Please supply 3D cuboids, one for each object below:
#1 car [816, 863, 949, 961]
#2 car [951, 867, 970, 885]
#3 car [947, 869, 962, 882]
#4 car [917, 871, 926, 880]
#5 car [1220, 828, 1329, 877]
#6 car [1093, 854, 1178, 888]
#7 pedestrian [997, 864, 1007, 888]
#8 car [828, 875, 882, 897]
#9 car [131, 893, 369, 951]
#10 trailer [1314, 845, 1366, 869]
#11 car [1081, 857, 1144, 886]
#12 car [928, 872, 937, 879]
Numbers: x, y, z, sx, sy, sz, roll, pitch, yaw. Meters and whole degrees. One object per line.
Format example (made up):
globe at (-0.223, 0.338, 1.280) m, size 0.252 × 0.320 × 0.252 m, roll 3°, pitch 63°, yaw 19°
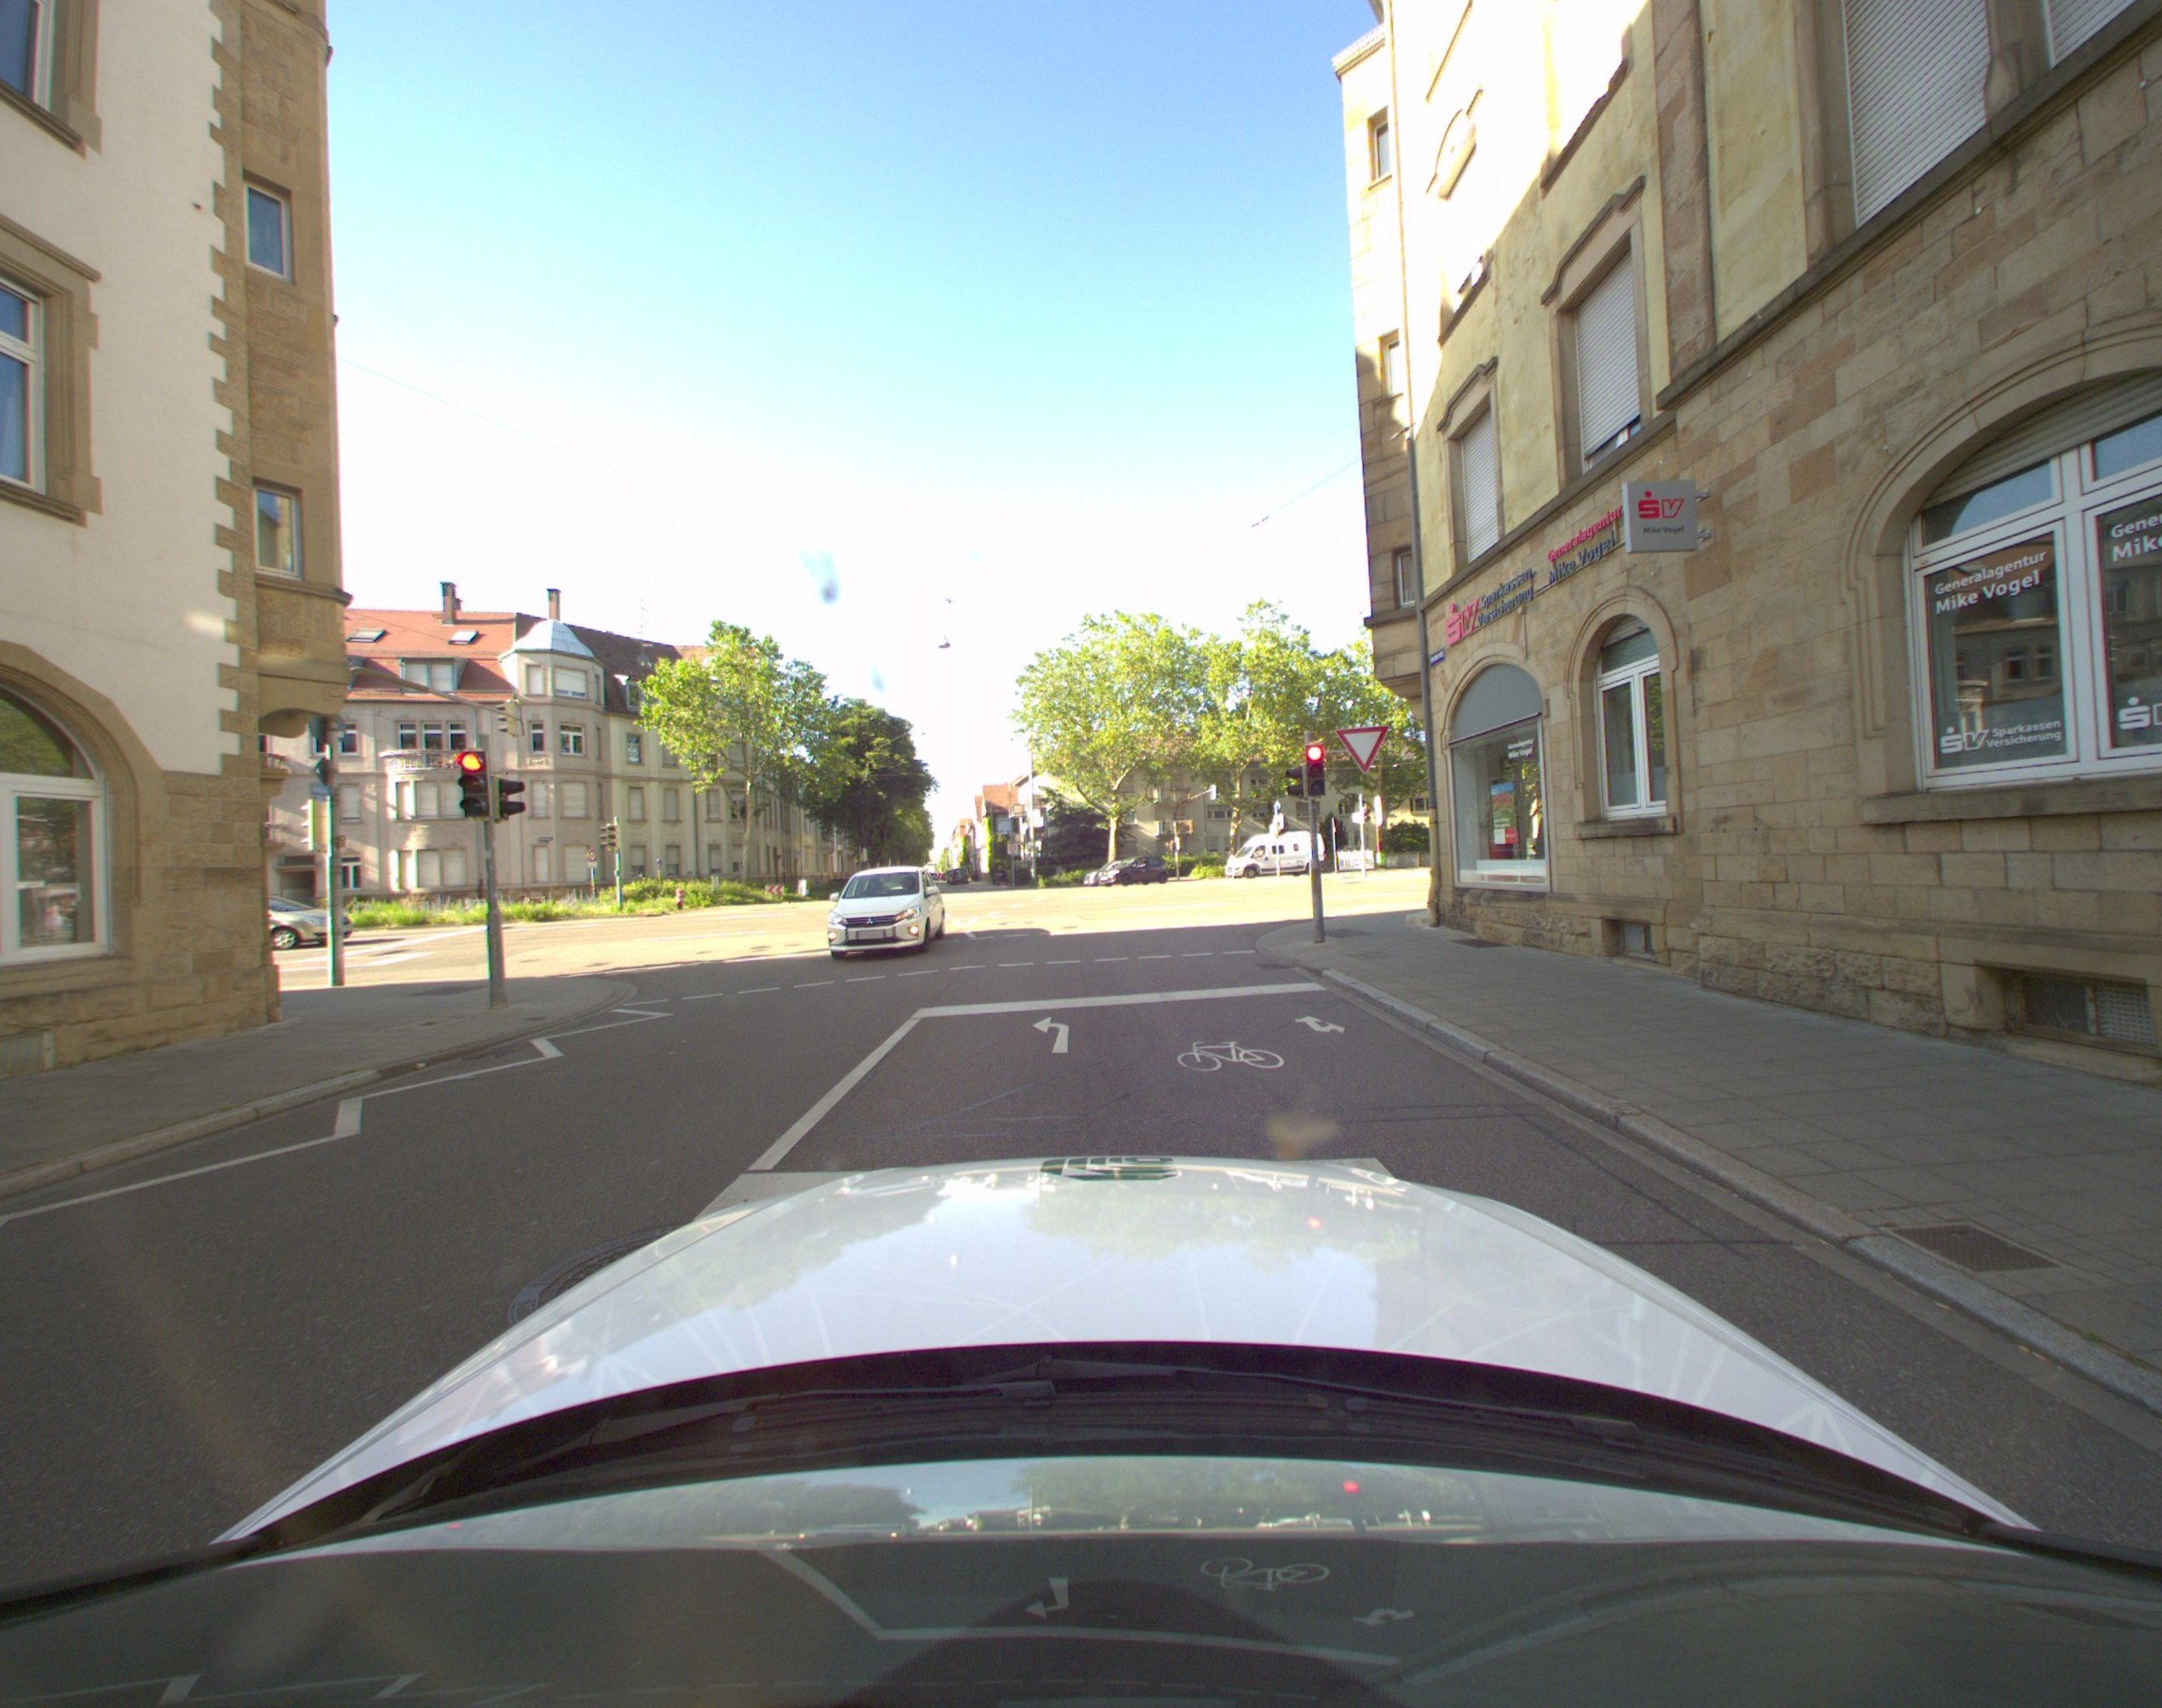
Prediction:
car at (-3.501, 0.952, 15.001) m, size 1.621 × 1.472 × 3.795 m, roll -3°, pitch 0°, yaw -3°
car at (-14.049, 2.551, 95.331) m, size 1.992 × 2.013 × 3.989 m, roll -3°, pitch 0°, yaw -8°
car at (-19.564, 3.305, 126.047) m, size 1.996 × 1.833 × 3.980 m, roll -1°, pitch -1°, yaw -14°
car at (-29.345, 3.933, 149.804) m, size 1.546 × 1.632 × 3.224 m, roll -3°, pitch 0°, yaw -9°
car at (11.565, -0.106, 48.719) m, size 6.054 × 2.568 × 1.989 m, roll -3°, pitch 0°, yaw -17°
car at (2.777, 0.857, 41.433) m, size 4.012 × 1.451 × 1.643 m, roll -3°, pitch 0°, yaw -30°
pedestrian at (-5.843, 1.596, 60.391) m, size 0.634 × 1.750 × 0.656 m, roll -1°, pitch -1°, yaw -15°
car at (-17.875, 2.535, 64.415) m, size 3.997 × 1.486 × 1.672 m, roll -3°, pitch 0°, yaw -17°
car at (-21.776, 1.744, 21.546) m, size 3.995 × 1.319 × 1.812 m, roll 0°, pitch -1°, yaw -16°
trailer at (15.878, 0.186, 49.917) m, size 2.747 × 1.311 × 1.263 m, roll -3°, pitch 0°, yaw -17°
car at (1.875, 1.034, 48.576) m, size 3.391 × 1.487 × 1.515 m, roll -3°, pitch 0°, yaw -20°
car at (-30.467, 4.389, 167.007) m, size 1.673 × 1.483 × 3.511 m, roll -2°, pitch -1°, yaw -9°
